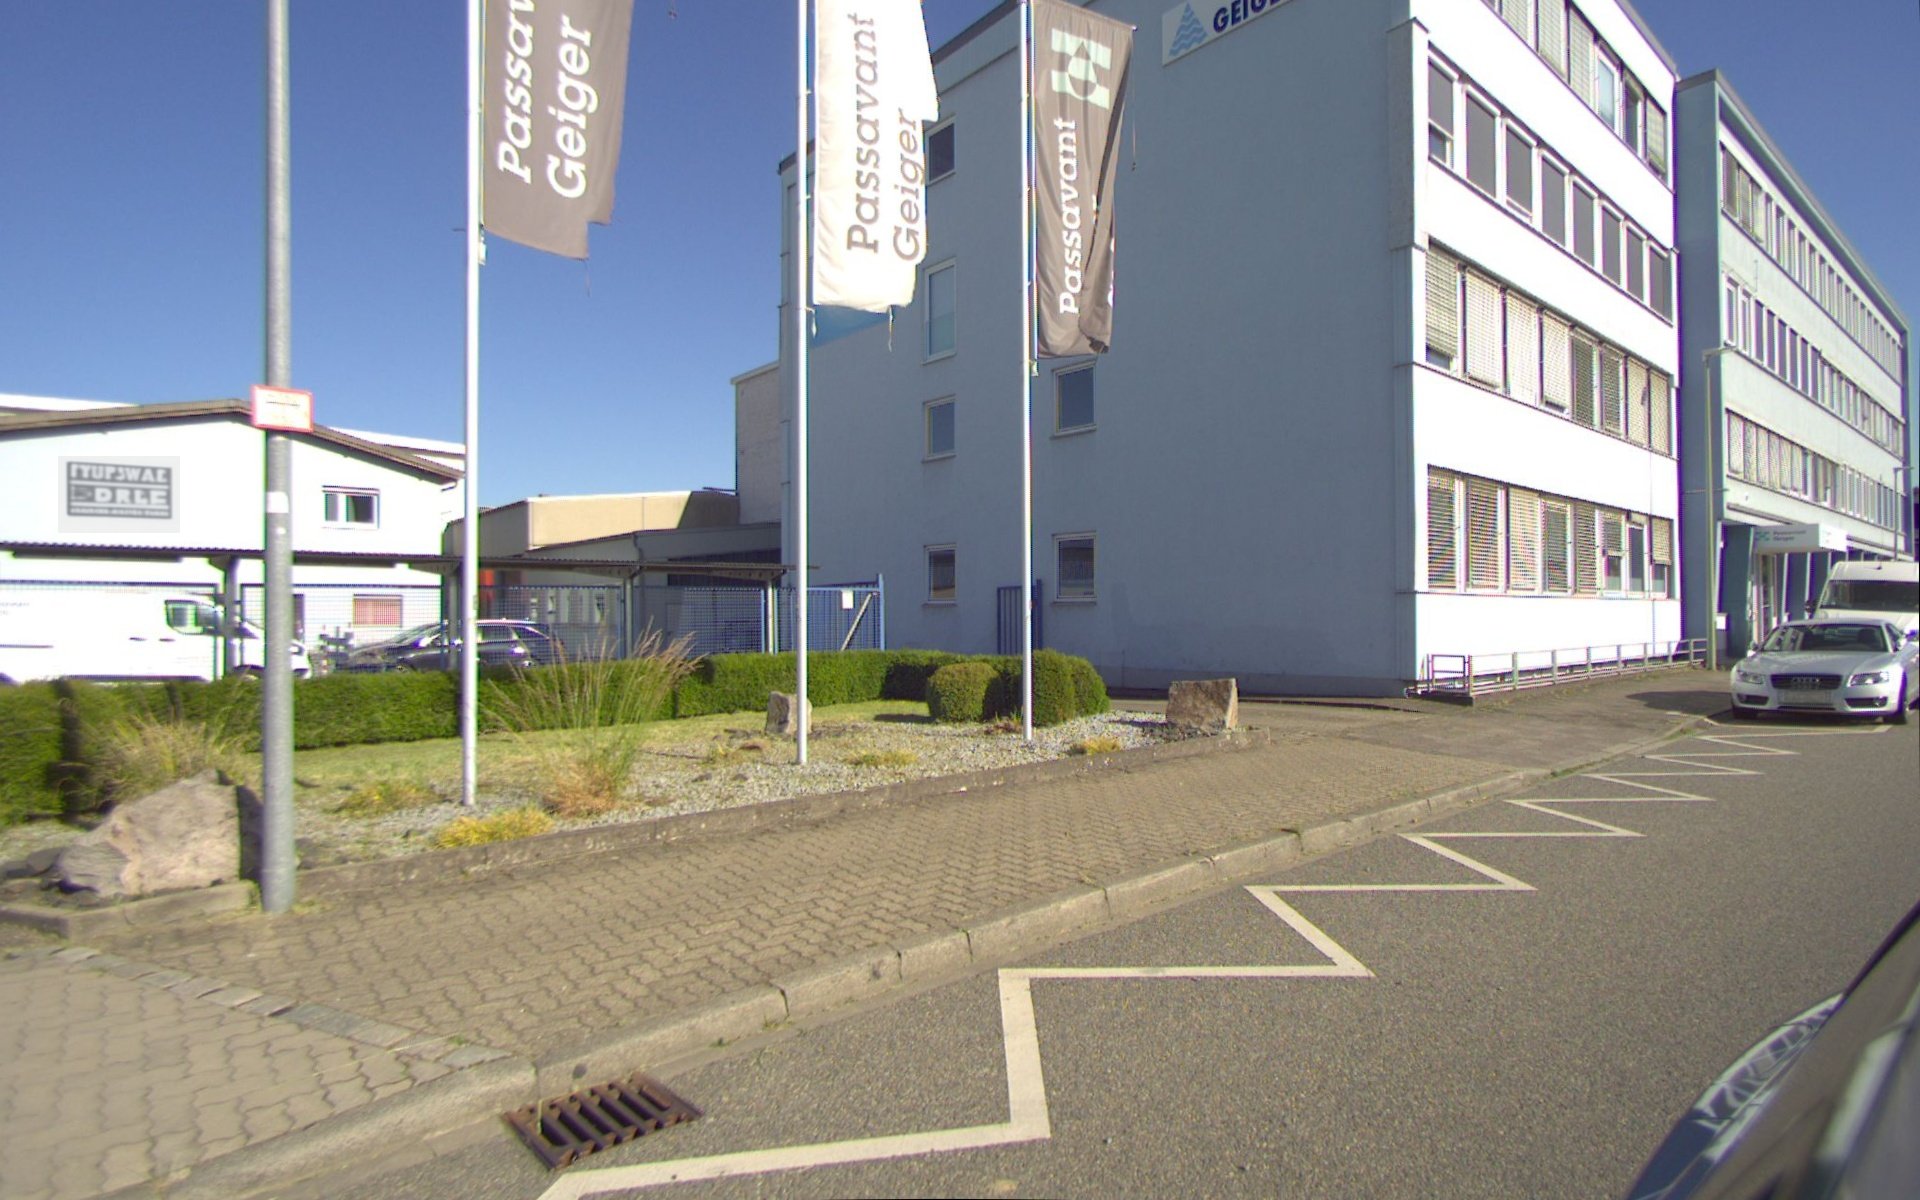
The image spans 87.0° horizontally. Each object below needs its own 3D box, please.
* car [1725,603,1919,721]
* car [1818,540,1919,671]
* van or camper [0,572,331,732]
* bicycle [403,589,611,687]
[{"bbox_3d":[13.070,0.802,14.886,5.035,1.423,1.897,0,-2,-41],"label":"car"},{"bbox_3d":[21.106,0.144,22.732,5.946,2.630,1.997,2,0,-42],"label":"car"},{"bbox_3d":[-14.330,0.807,16.811,6.396,2.413,2.104,-1,-2,-39],"label":"van or camper"},{"bbox_3d":[-10.314,0.800,23.174,3.932,2.039,1.996,0,-1,-43],"label":"bicycle"}]
